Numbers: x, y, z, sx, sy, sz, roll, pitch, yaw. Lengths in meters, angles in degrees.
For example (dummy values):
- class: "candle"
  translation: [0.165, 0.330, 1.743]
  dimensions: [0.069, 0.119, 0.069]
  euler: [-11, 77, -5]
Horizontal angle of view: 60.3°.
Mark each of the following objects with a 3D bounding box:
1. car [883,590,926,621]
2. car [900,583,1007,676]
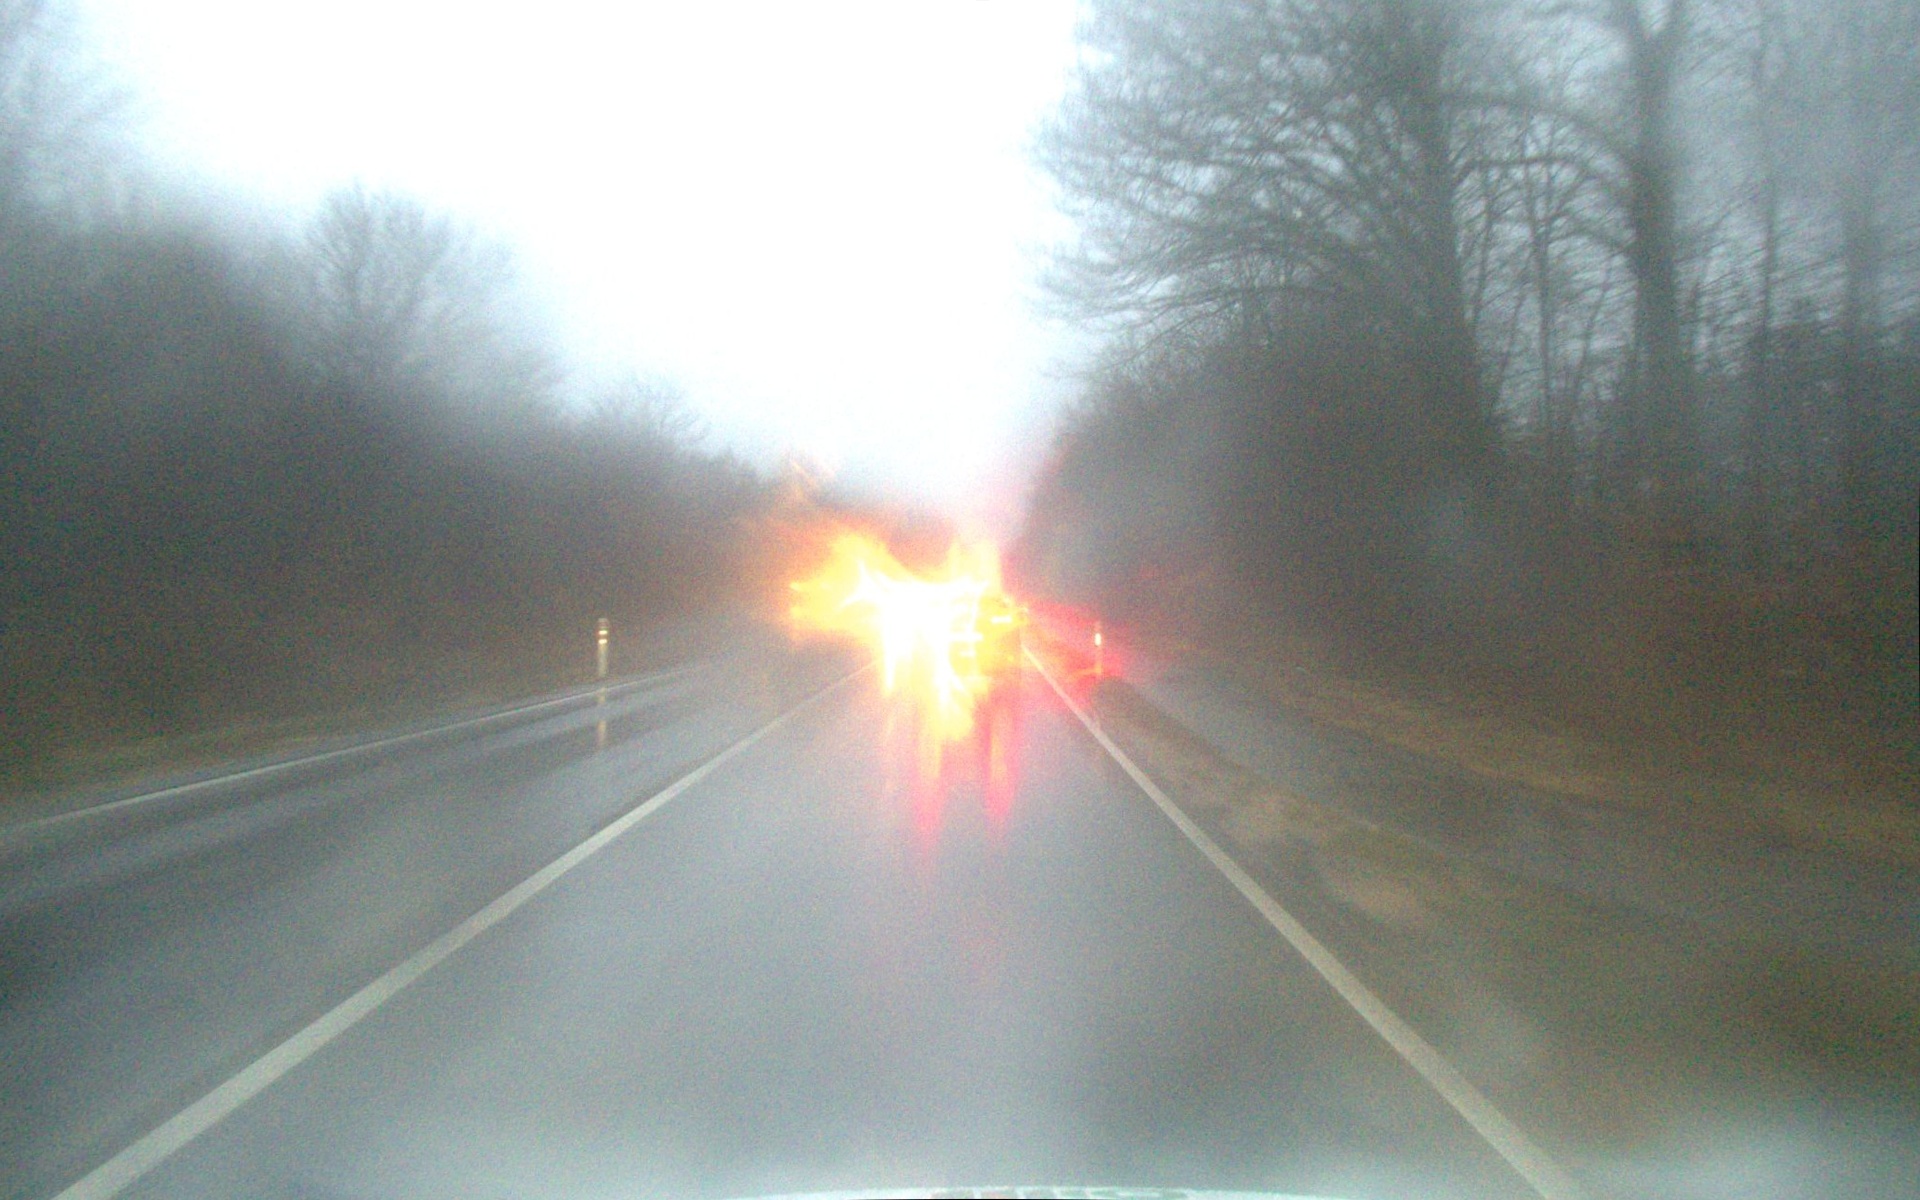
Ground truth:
- class: "car"
  translation: [-2.645, 0.255, 79.556]
  dimensions: [1.776, 1.464, 4.099]
  euler: [0, 0, 2]
- class: "car"
  translation: [-0.069, 0.453, 27.356]
  dimensions: [1.644, 1.414, 4.098]
  euler: [0, 0, 1]
